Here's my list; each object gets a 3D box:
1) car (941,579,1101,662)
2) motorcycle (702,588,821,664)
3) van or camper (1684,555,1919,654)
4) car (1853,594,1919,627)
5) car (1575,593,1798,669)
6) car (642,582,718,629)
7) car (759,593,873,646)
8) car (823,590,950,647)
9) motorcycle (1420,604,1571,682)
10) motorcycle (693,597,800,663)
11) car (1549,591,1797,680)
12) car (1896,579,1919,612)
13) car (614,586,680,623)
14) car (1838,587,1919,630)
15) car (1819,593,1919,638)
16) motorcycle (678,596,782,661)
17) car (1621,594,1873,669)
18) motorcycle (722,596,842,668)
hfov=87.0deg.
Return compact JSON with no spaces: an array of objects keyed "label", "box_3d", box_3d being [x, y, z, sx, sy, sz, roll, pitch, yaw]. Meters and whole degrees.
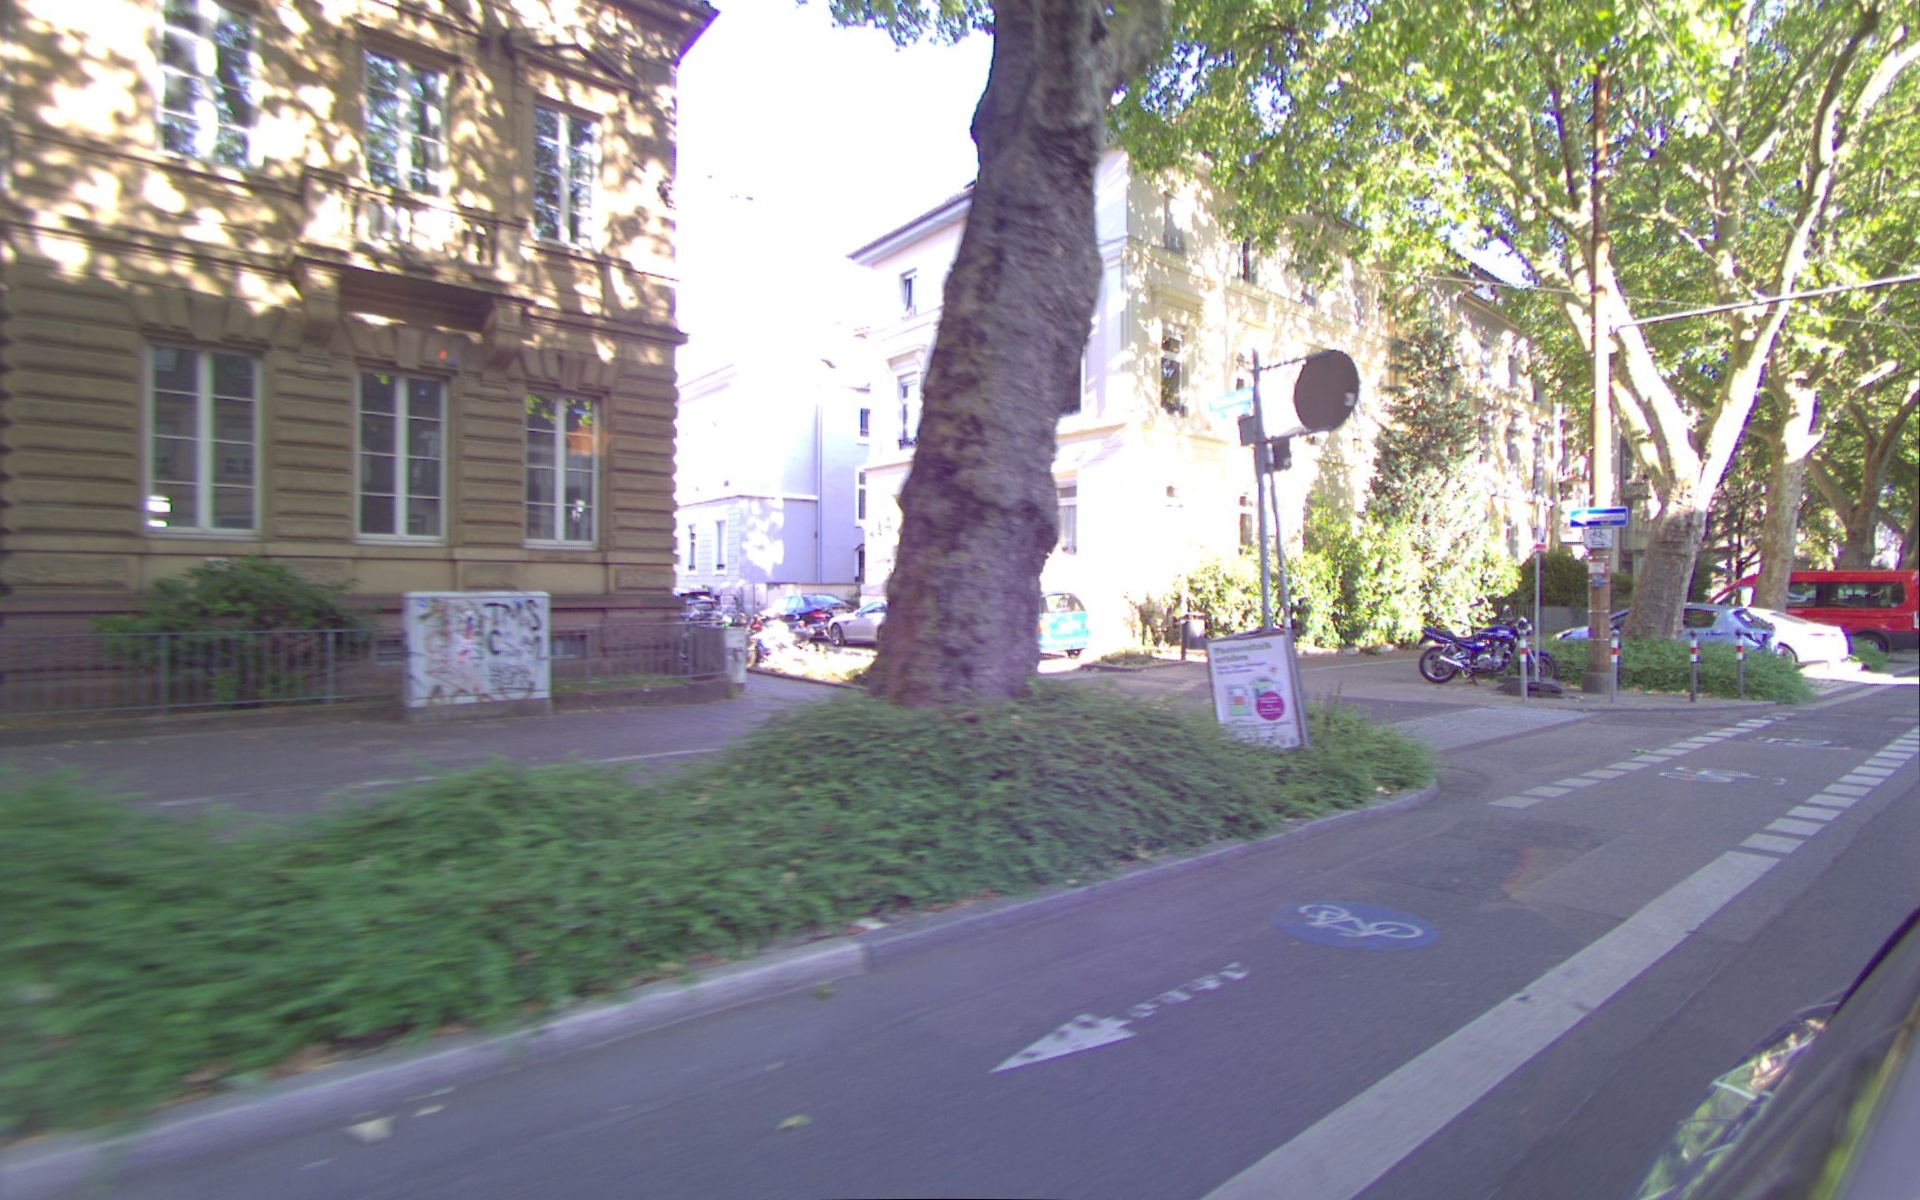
[{"label":"car","box_3d":[1.306,0.394,22.669,1.602,1.608,3.479,-5,4,-39]},{"label":"motorcycle","box_3d":[-3.927,0.505,20.099,2.239,1.449,0.570,1,-1,-26]},{"label":"van or camper","box_3d":[24.656,0.069,29.122,2.249,2.550,5.823,1,2,-43]},{"label":"car","box_3d":[45.542,0.502,48.534,4.028,1.498,1.655,2,1,44]},{"label":"car","box_3d":[15.802,0.606,22.122,3.752,1.404,1.655,3,2,44]},{"label":"car","box_3d":[-10.675,0.168,38.432,1.600,1.670,3.709,-2,2,-35]},{"label":"car","box_3d":[-4.429,0.527,30.618,1.627,1.431,4.084,-2,2,-37]},{"label":"car","box_3d":[-2.008,0.434,26.833,1.601,1.341,3.665,-3,2,-38]},{"label":"motorcycle","box_3d":[8.831,0.707,16.770,2.145,1.243,0.471,-1,-1,22]},{"label":"motorcycle","box_3d":[-4.430,0.602,21.046,2.137,1.313,0.497,0,-1,-22]},{"label":"car","box_3d":[14.112,0.622,20.185,1.652,1.527,3.758,0,2,-41]},{"label":"car","box_3d":[68.223,-0.260,69.186,1.970,2.311,6.004,1,0,-40]},{"label":"car","box_3d":[-13.186,0.148,42.525,1.600,1.449,3.709,-2,2,-35]},{"label":"car","box_3d":[41.780,0.386,44.757,1.818,1.740,4.268,0,3,-43]},{"label":"car","box_3d":[35.172,0.571,38.463,1.664,1.536,3.602,0,2,-41]},{"label":"motorcycle","box_3d":[-5.007,0.604,22.098,2.137,1.313,0.497,-2,0,-22]},{"label":"car","box_3d":[17.975,0.648,23.285,1.728,1.434,4.296,0,2,-39]},{"label":"motorcycle","box_3d":[-3.349,0.599,19.103,2.137,1.313,0.497,1,-1,-22]}]
